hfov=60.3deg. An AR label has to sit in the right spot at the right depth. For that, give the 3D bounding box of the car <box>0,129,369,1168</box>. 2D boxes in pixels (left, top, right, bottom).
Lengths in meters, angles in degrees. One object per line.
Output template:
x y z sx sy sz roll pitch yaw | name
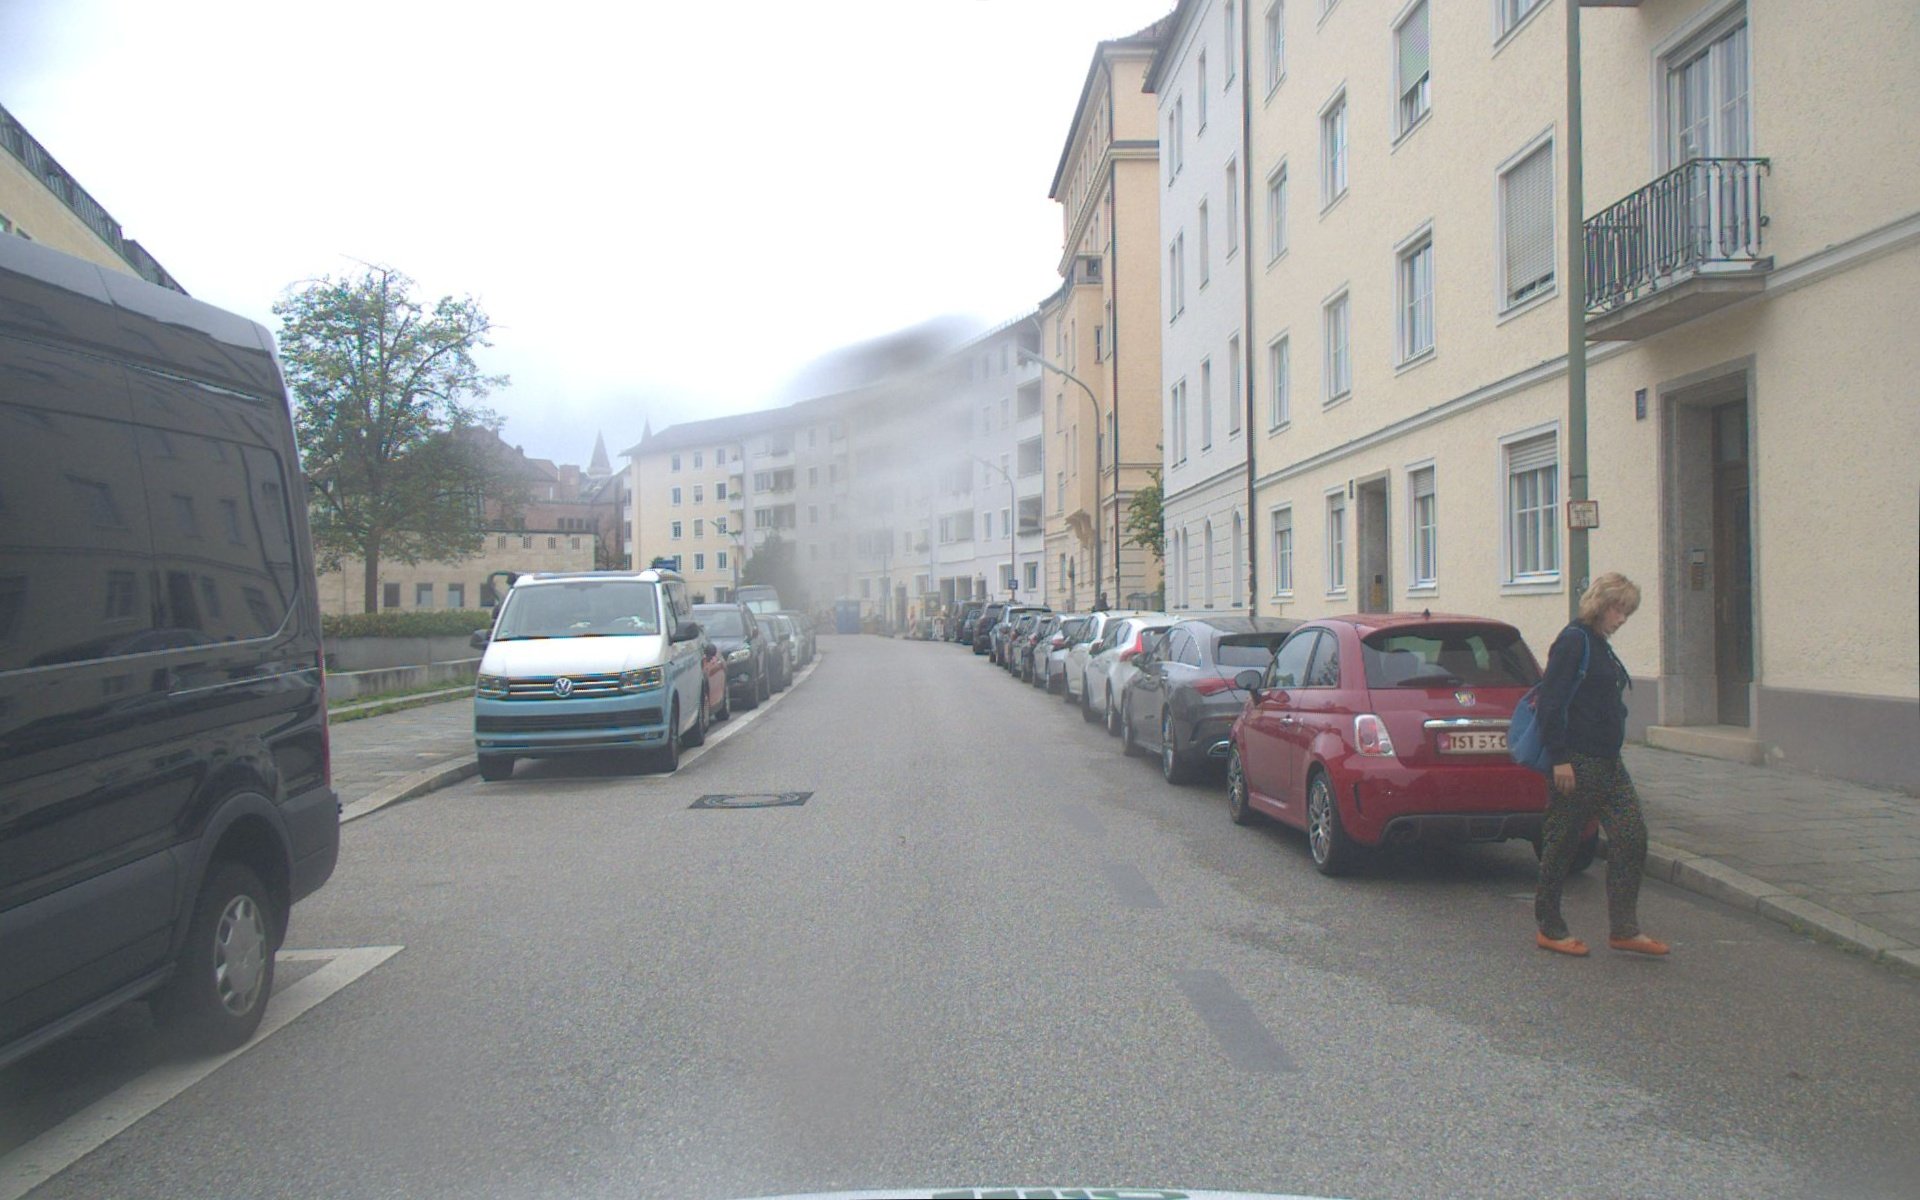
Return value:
-3.502 0.127 4.182 2.045 2.682 5.376 0 0 0 | car

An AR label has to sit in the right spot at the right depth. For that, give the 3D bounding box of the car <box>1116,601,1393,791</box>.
2.609 0.826 15.654 1.658 1.518 4.340 -1 -1 -2 | car

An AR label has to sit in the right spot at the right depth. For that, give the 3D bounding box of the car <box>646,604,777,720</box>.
-4.071 0.968 27.607 1.667 1.721 4.026 -2 0 -2 | car

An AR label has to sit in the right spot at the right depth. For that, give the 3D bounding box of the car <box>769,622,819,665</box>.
-5.850 1.517 58.637 1.591 1.444 3.645 -1 -1 -4 | car

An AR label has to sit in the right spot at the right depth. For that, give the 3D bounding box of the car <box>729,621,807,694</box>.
-4.369 1.272 38.036 1.592 1.535 3.977 -1 -1 -5 | car

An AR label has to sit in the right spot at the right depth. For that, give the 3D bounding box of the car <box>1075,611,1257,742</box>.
2.592 0.924 21.743 1.658 1.518 4.280 -1 -1 -2 | car

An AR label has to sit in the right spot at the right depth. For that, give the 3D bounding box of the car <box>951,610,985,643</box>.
0.316 1.074 67.849 1.246 1.321 2.796 0 -1 -3 | car

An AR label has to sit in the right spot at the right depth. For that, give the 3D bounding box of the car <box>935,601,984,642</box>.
-0.039 0.928 73.047 1.573 1.745 3.081 1 0 -11 | car

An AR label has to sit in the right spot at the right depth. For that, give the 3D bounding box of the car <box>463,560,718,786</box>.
-3.677 0.671 17.272 1.845 1.965 4.597 -2 0 -4 | car

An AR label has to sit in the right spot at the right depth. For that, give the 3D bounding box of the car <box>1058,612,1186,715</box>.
2.544 0.966 26.664 1.567 1.517 3.797 0 0 -2 | car

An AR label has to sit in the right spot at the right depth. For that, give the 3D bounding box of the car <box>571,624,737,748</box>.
-3.981 1.077 22.032 1.619 1.397 3.650 -2 0 -2 | car

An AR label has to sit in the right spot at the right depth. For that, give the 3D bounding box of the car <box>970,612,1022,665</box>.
1.186 1.274 55.956 1.444 1.669 3.998 1 0 -3 | car

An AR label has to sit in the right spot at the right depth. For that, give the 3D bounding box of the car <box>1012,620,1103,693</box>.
2.096 1.206 36.615 1.559 1.457 4.418 1 0 -2 | car

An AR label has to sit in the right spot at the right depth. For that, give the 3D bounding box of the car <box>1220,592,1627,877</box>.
2.830 0.751 10.935 1.563 1.535 3.799 -1 -1 -1 | car

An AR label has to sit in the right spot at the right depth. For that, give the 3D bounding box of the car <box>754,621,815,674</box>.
-5.181 1.380 49.107 1.591 1.444 3.978 -1 -1 -4 | car

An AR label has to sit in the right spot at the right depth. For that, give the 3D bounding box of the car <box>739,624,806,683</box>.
-4.913 1.386 43.802 1.592 1.444 3.977 -1 -1 -5 | car

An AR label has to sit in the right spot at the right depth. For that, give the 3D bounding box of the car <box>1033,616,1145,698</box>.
2.406 1.064 31.658 1.658 1.458 3.942 1 -1 -2 | car

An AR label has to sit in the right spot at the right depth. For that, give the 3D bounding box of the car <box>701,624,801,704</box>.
-4.104 1.227 32.939 1.591 1.437 3.797 -2 -1 -2 | car

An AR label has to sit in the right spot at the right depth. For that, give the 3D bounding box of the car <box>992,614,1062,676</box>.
1.832 1.223 46.131 1.559 1.610 4.296 1 0 -3 | car

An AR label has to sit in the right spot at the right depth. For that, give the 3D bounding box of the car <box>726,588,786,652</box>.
-9.124 0.886 73.695 1.744 2.700 3.977 2 -1 -20 | car

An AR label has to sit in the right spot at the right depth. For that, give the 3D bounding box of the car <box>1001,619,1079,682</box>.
1.945 1.215 41.084 1.559 1.457 3.823 1 0 -2 | car

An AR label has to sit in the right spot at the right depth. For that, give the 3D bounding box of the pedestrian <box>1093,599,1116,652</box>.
4.770 0.851 54.545 0.653 1.722 0.689 2 -1 -2 | pedestrian

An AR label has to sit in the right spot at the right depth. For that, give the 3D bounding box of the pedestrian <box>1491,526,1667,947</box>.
2.786 0.586 7.424 0.657 1.758 0.795 0 -3 27 | pedestrian
